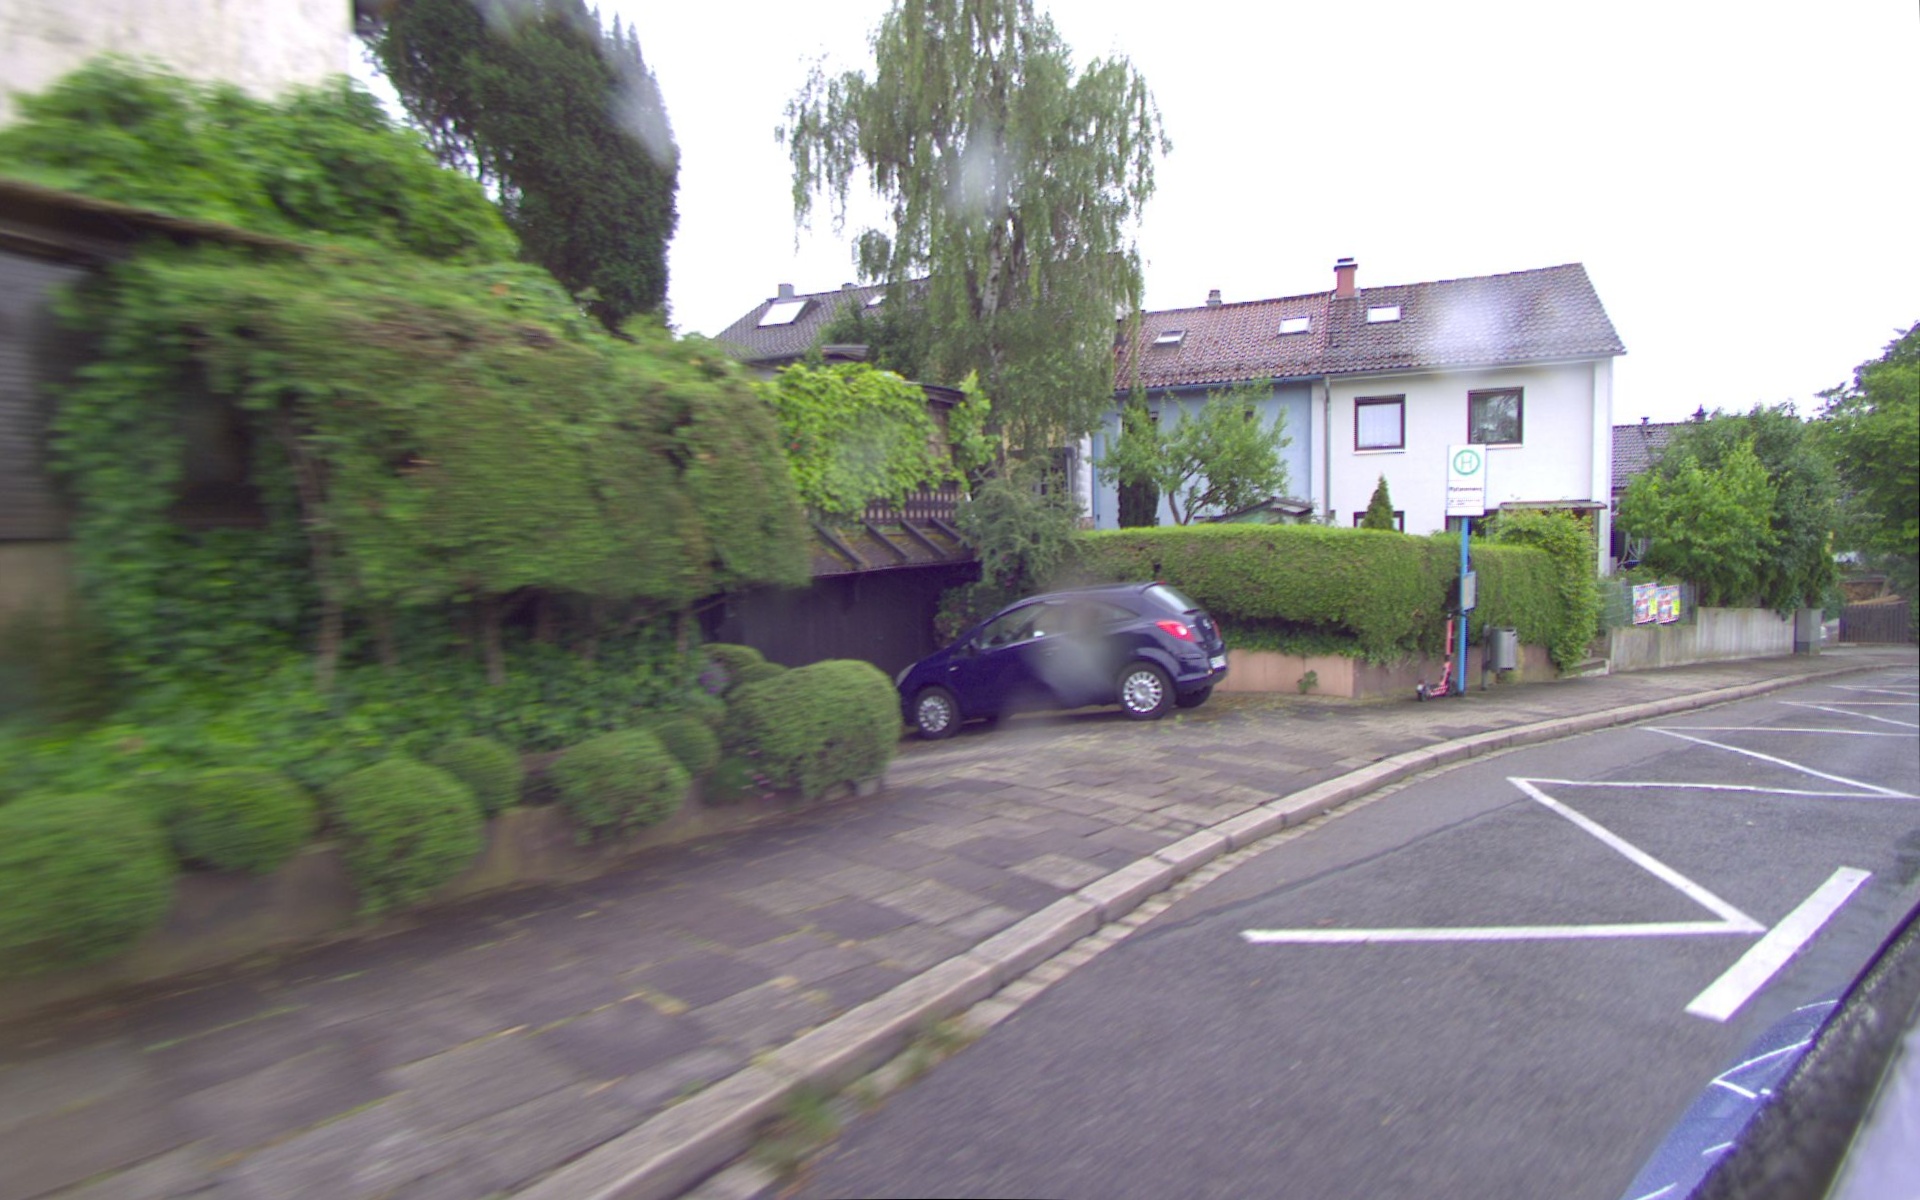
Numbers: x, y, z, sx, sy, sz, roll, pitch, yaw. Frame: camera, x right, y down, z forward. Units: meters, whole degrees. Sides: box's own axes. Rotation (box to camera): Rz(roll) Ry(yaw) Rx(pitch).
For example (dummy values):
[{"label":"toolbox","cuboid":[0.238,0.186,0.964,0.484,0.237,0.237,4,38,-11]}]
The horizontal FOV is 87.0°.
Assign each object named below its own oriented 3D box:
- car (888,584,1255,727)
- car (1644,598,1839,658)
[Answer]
[{"label":"car","cuboid":[1.210,0.640,11.439,3.679,1.314,1.753,-5,-2,32]},{"label":"car","cuboid":[25.235,0.900,32.877,4.547,1.438,1.778,-6,-1,21]}]
